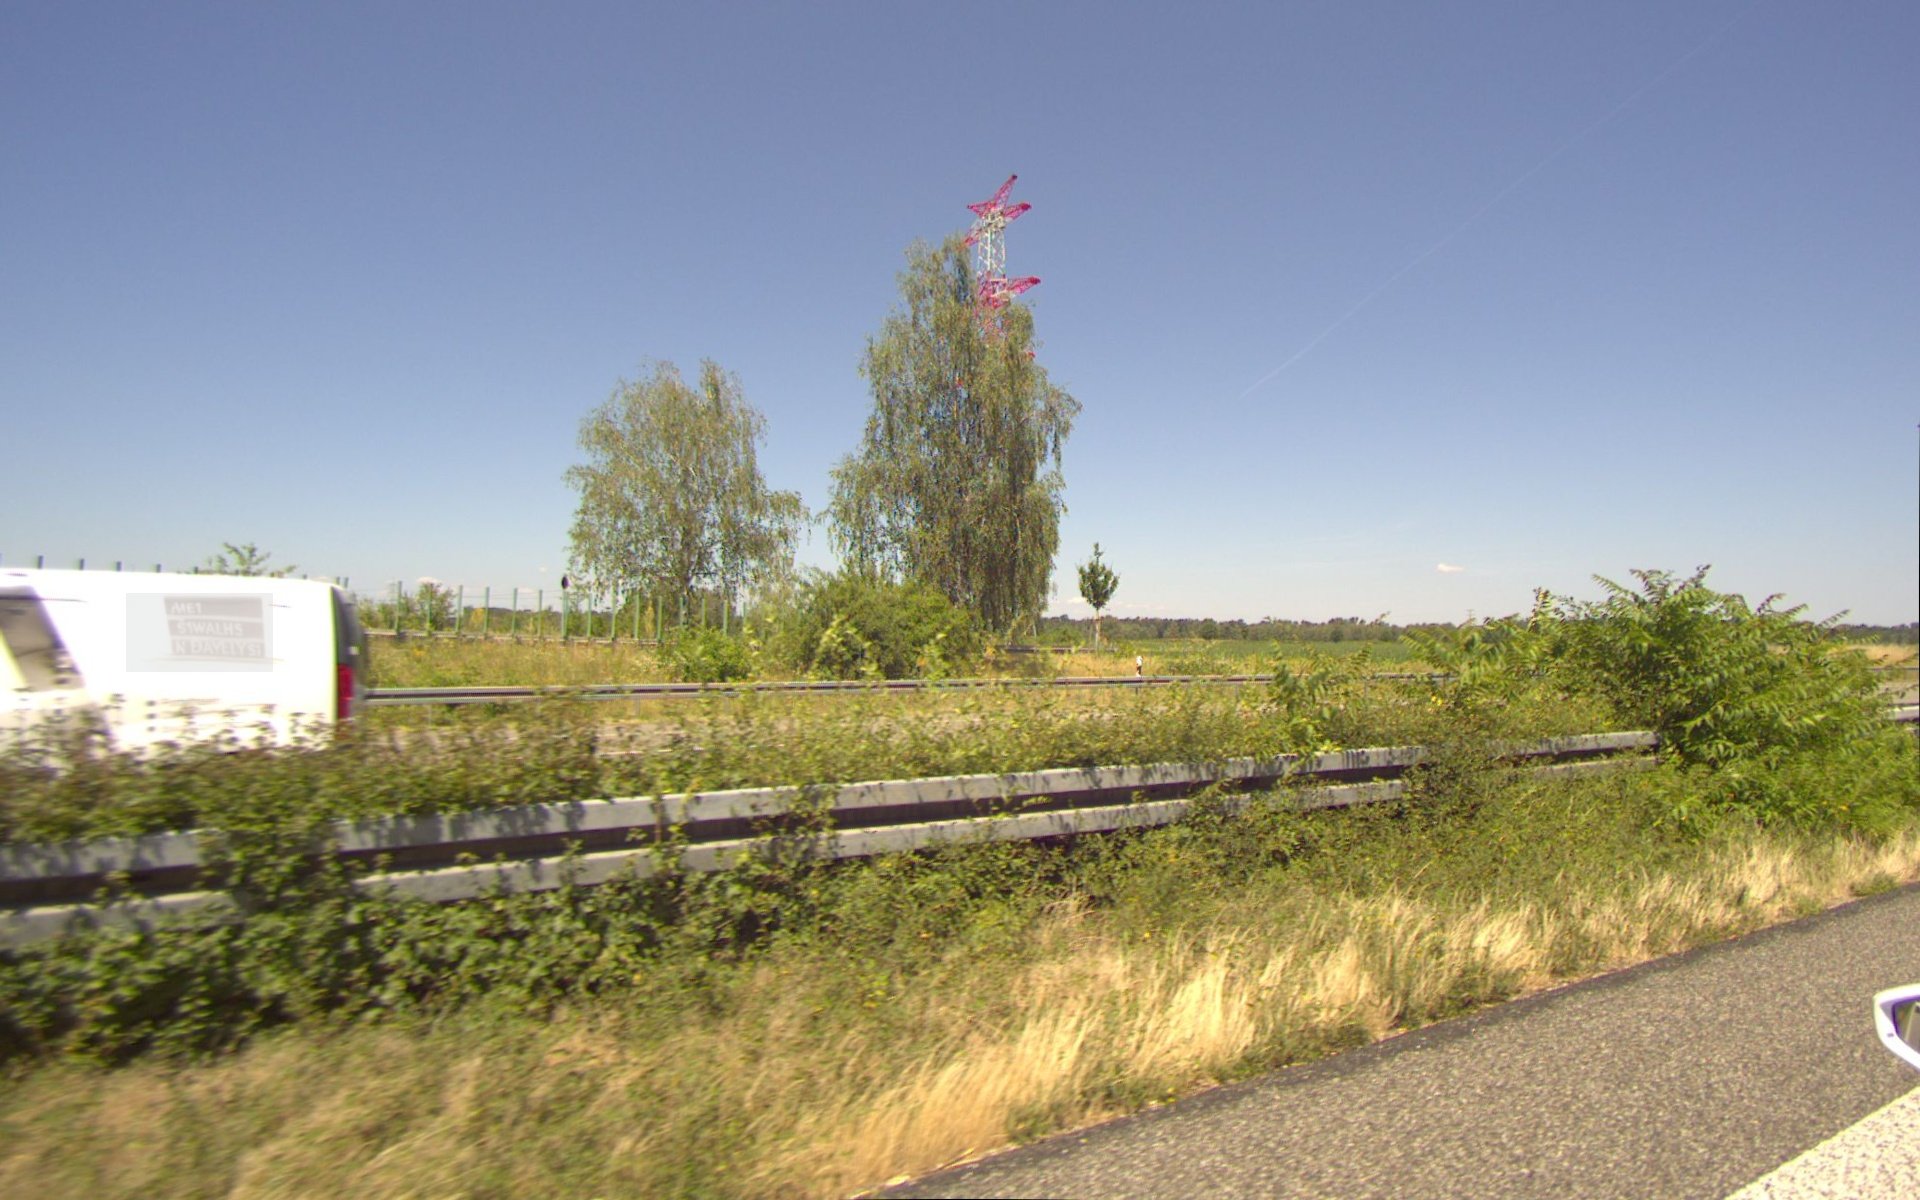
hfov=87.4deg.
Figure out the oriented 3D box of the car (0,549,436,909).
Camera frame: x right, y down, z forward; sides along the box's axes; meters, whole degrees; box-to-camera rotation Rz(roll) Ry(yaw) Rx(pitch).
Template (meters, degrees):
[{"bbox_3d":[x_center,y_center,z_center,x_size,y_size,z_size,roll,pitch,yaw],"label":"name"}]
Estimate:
[{"bbox_3d":[-5.888,0.718,6.076,4.716,1.950,1.754,2,-2,-31],"label":"car"}]
